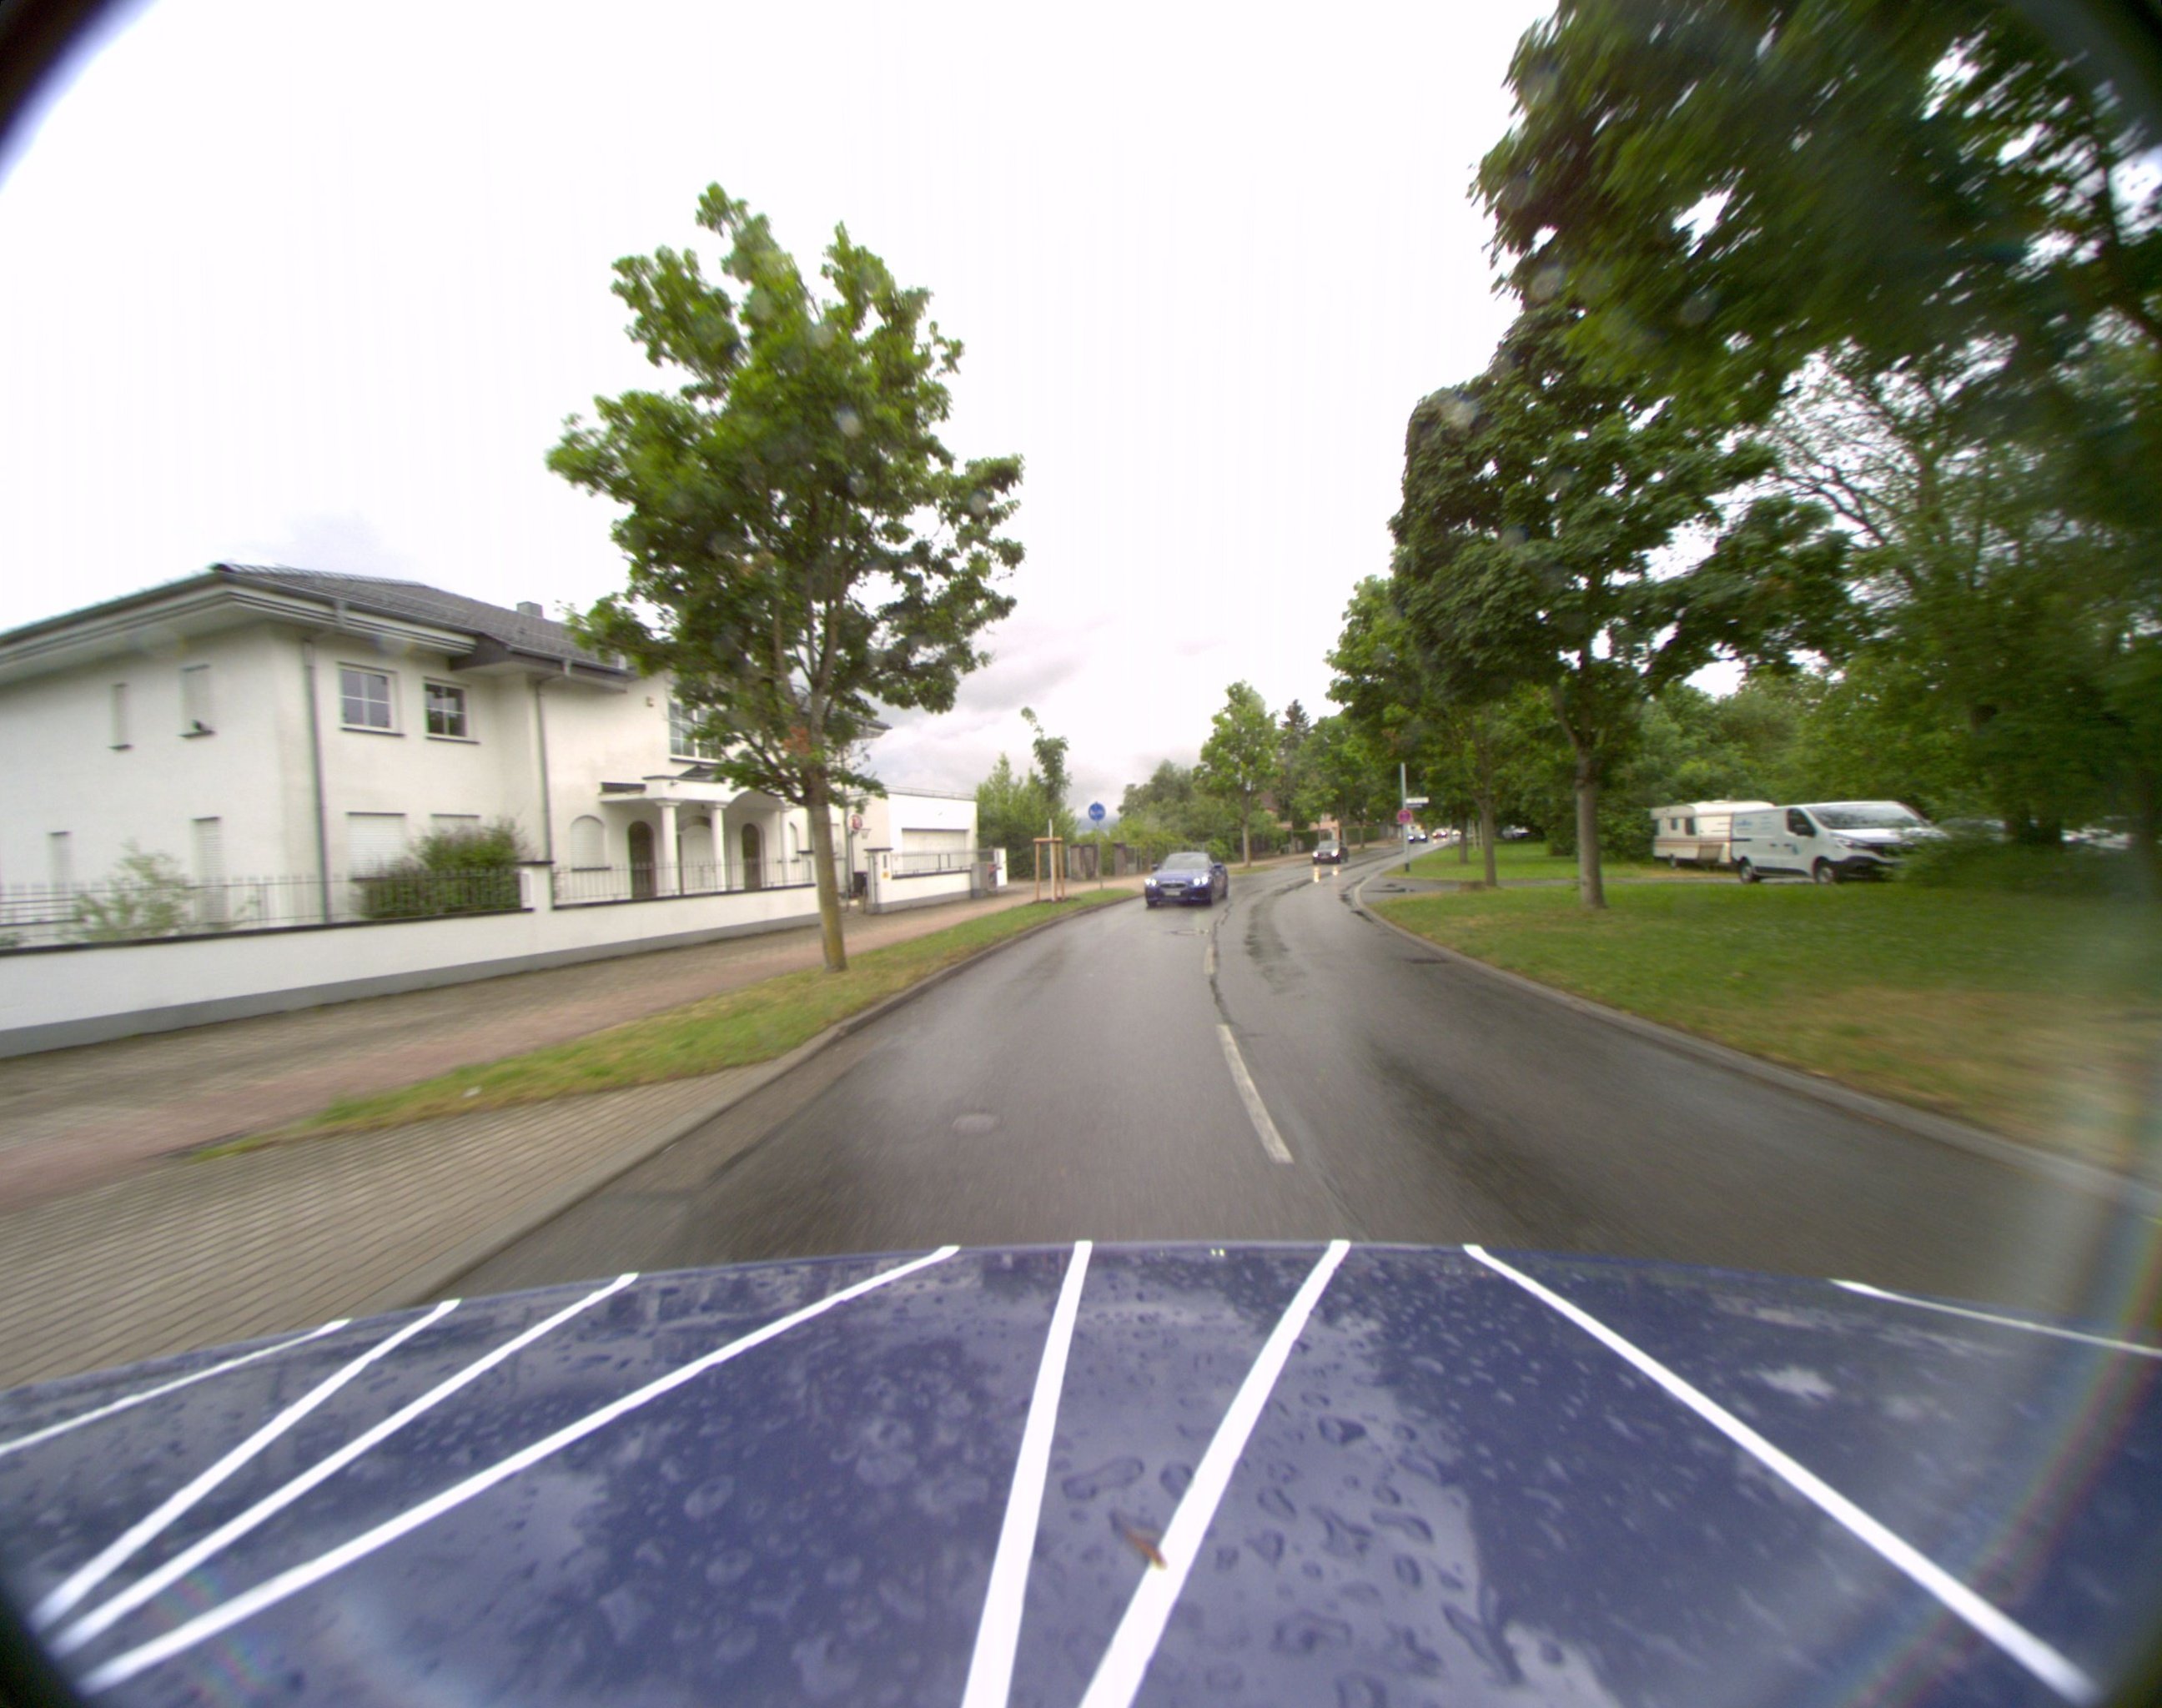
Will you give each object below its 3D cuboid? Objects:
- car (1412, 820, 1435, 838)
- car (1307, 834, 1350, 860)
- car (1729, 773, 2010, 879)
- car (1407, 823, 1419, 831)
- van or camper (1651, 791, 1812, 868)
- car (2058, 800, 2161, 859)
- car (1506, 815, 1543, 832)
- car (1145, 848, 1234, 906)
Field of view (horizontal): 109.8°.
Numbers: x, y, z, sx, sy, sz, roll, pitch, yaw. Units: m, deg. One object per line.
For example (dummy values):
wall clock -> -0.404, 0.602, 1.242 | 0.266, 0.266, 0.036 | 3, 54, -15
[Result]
car -> 41.766, -3.075, 92.586 | 1.995, 1.848, 4.006 | -5, 1, 30
car -> 16.057, -0.477, 49.150 | 1.926, 1.374, 4.314 | -5, 1, 27
car -> 17.311, -0.481, 17.199 | 2.130, 1.974, 5.483 | -1, -1, 19
car -> 65.792, -5.425, 150.468 | 1.663, 1.414, 4.006 | -5, 0, 31
van or camper -> 23.028, -0.892, 27.338 | 2.386, 2.347, 6.819 | -2, 2, 22
car -> 31.894, -0.757, 22.441 | 1.855, 1.572, 4.357 | -2, 2, 23
car -> 42.503, -2.908, 72.914 | 1.884, 1.421, 4.221 | -2, -1, 12
car -> 3.276, 0.608, 22.222 | 1.813, 1.460, 3.979 | -1, 1, 19
